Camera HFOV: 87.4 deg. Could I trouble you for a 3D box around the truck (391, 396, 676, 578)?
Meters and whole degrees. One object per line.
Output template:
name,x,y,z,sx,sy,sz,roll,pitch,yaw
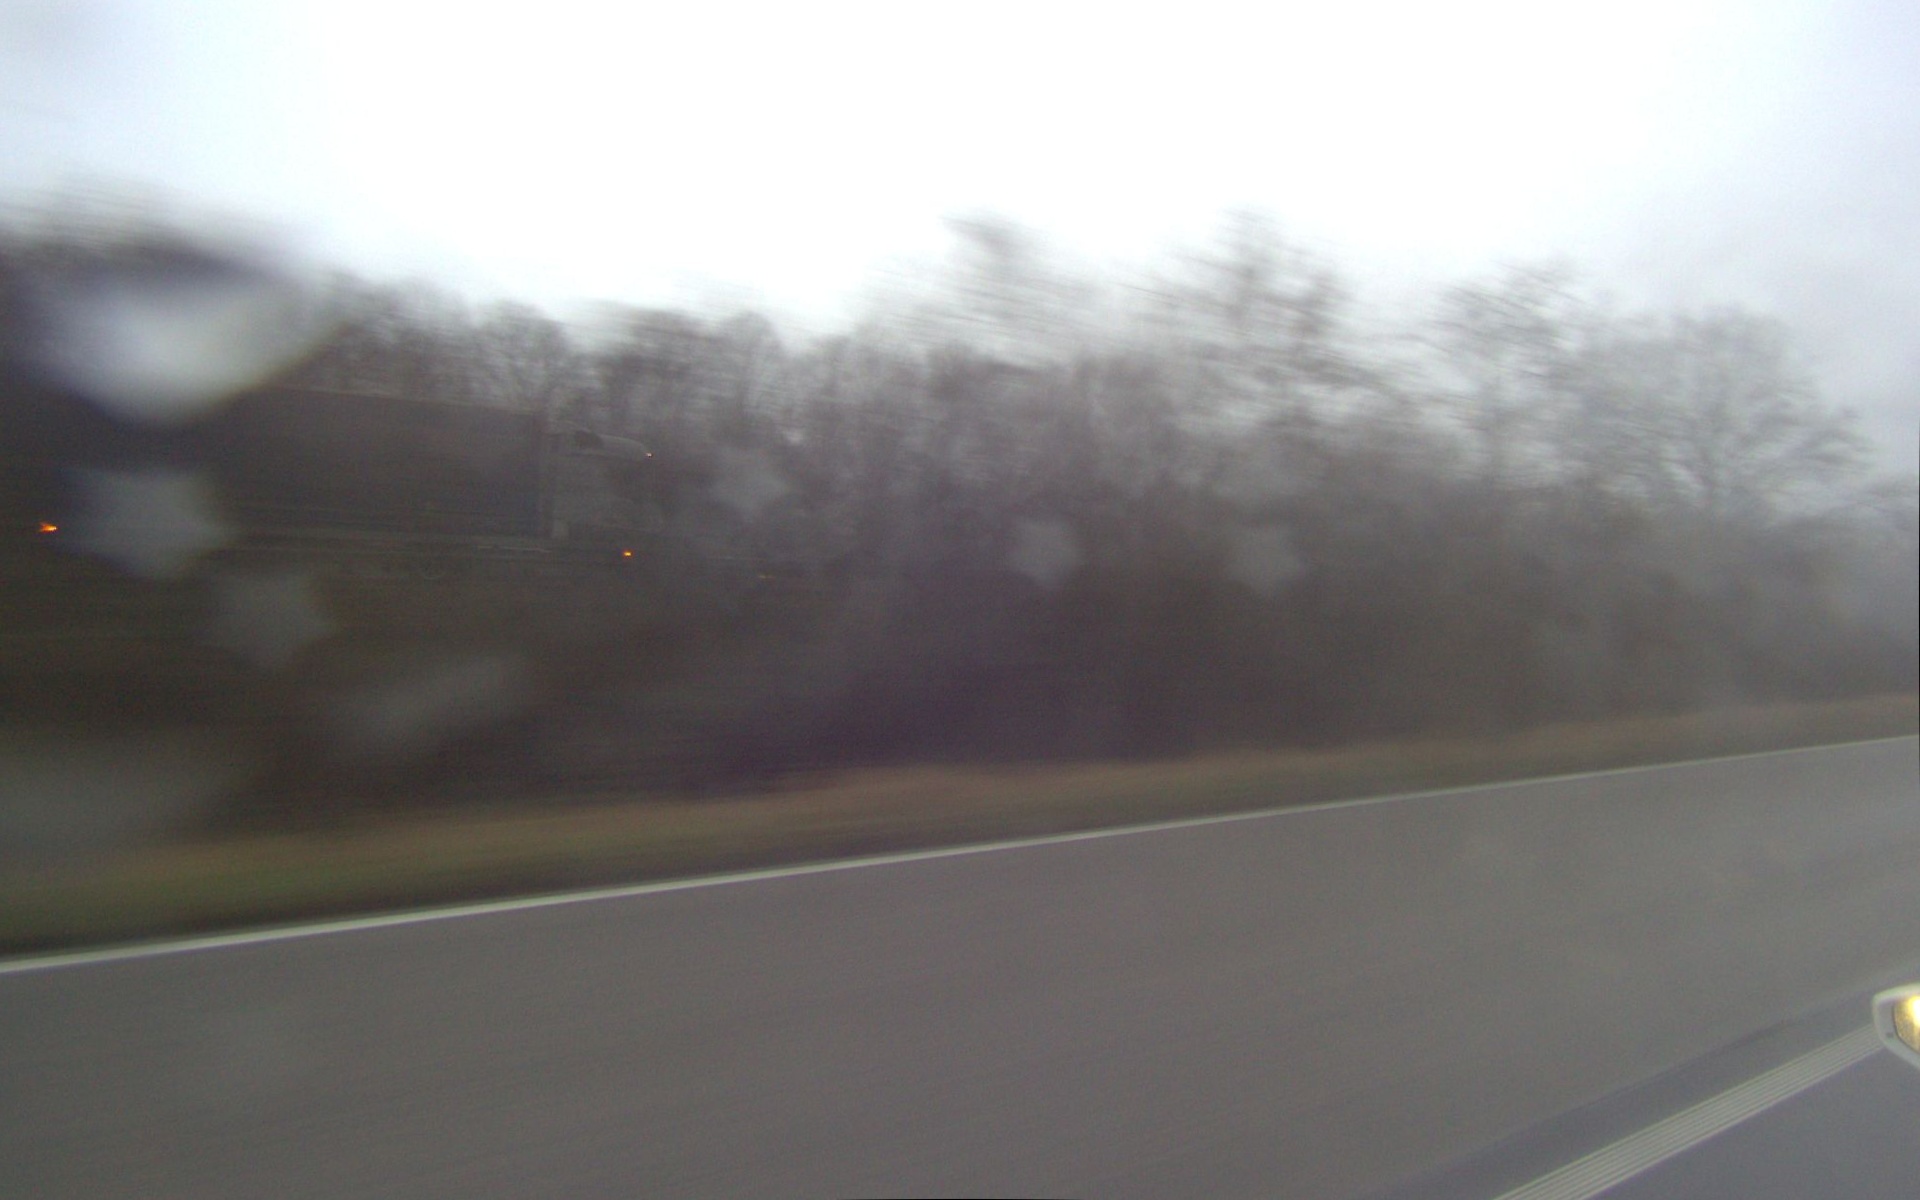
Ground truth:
truck,-10.185,-2.458,24.130,5.994,3.680,2.979,1,-1,-30

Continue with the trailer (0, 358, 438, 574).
trailer,-16.914,-2.535,20.281,11.249,3.682,2.985,1,-1,-30
